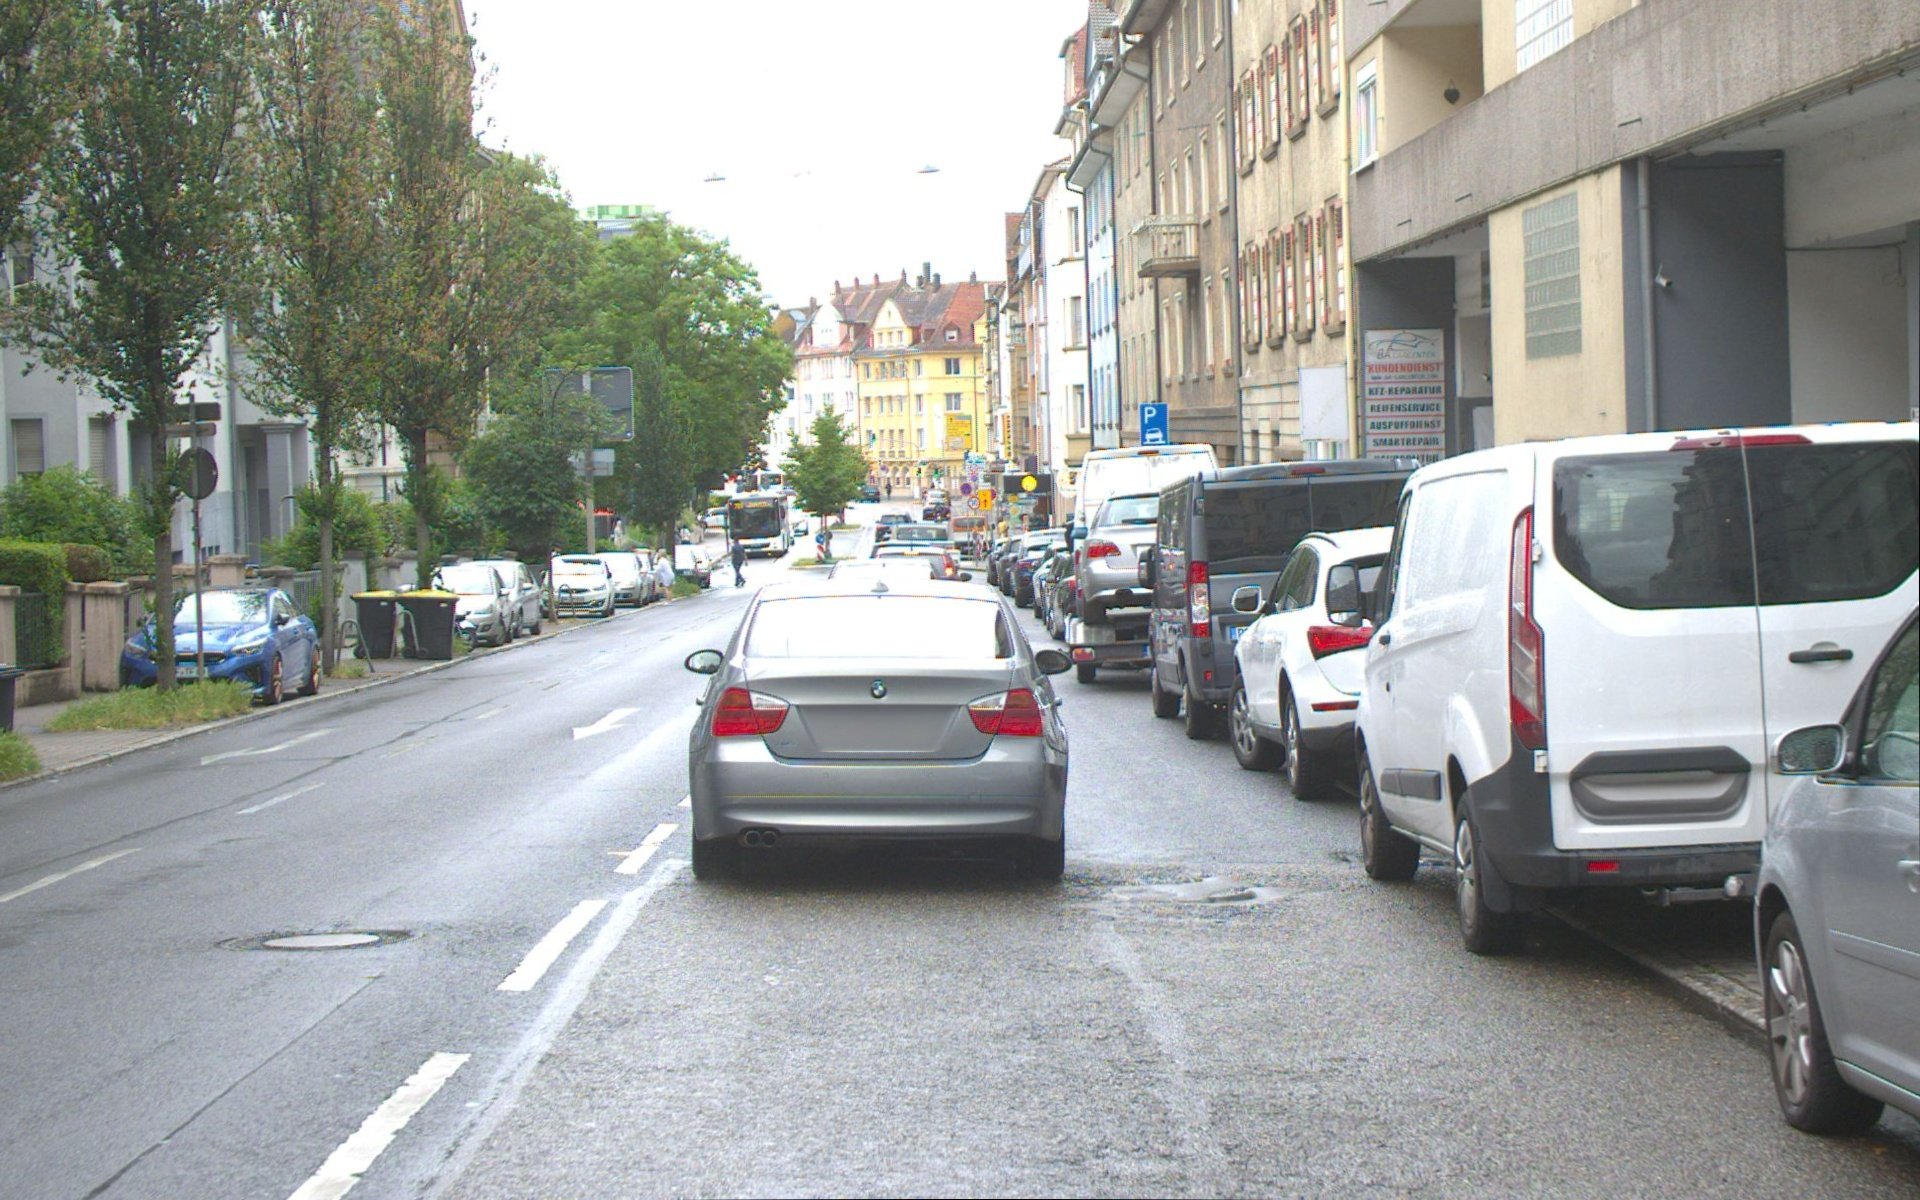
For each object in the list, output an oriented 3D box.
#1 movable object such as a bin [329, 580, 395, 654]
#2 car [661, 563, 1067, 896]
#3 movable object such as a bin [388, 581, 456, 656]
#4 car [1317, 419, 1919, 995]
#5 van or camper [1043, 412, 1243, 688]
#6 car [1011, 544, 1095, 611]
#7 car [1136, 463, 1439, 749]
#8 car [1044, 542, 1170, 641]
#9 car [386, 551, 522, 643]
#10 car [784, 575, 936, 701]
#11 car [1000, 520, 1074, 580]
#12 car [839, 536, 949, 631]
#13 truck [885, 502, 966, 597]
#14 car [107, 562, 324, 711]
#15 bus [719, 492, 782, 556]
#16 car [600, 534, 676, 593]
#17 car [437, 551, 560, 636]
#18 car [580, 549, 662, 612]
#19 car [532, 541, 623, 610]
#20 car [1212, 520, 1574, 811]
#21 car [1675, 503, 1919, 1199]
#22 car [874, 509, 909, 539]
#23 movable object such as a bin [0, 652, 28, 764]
[{"bbox_3d":[-9.592,0.265,55.196,0.902,1.164,0.895,-1,1,-1],"label":"movable object such as a bin"},{"bbox_3d":[-0.407,0.547,16.872,1.769,1.423,3.741,0,1,0],"label":"car"},{"bbox_3d":[-8.632,0.292,55.201,0.935,1.164,0.909,-1,1,-1],"label":"movable object such as a bin"},{"bbox_3d":[2.815,0.344,14.631,1.982,2.000,4.625,-2,1,-1],"label":"car"},{"bbox_3d":[2.111,-0.589,39.818,2.033,2.859,6.884,2,1,3],"label":"van or camper"},{"bbox_3d":[2.086,-0.506,78.012,1.697,1.478,3.975,0,0,-1],"label":"car"},{"bbox_3d":[2.686,0.011,29.286,1.982,2.158,4.750,-2,1,-1],"label":"car"},{"bbox_3d":[2.264,-0.146,53.794,1.697,1.478,3.975,0,0,-1],"label":"car"},{"bbox_3d":[-9.178,-0.077,62.648,1.827,1.518,3.736,-3,1,0],"label":"car"},{"bbox_3d":[-1.152,0.423,41.181,1.682,1.423,3.741,0,1,0],"label":"car"},{"bbox_3d":[1.933,-1.258,87.690,1.697,1.478,3.975,0,0,-1],"label":"car"},{"bbox_3d":[-1.073,-0.269,55.322,1.697,1.478,3.794,0,0,-1],"label":"car"},{"bbox_3d":[-0.918,-1.306,89.562,2.032,2.404,4.827,0,0,-1],"label":"truck"},{"bbox_3d":[-8.883,0.395,41.312,1.766,1.588,4.000,-3,1,-2],"label":"car"},{"bbox_3d":[-10.342,-3.739,170.320,2.668,3.014,7.671,-2,1,-1],"label":"bus"},{"bbox_3d":[-9.026,-1.041,96.665,1.691,1.518,3.736,-3,1,0],"label":"car"},{"bbox_3d":[-9.066,-0.148,67.842,1.827,1.518,3.736,-3,1,0],"label":"car"},{"bbox_3d":[-8.904,-0.528,90.442,1.691,1.518,3.736,-3,1,0],"label":"car"},{"bbox_3d":[-9.245,-0.613,83.238,1.691,1.518,3.736,-3,1,0],"label":"car"},{"bbox_3d":[2.738,0.358,22.627,1.726,1.664,4.289,-2,1,-1],"label":"car"},{"bbox_3d":[3.005,0.572,7.810,1.726,1.664,4.289,-3,1,-1],"label":"car"},{"bbox_3d":[-3.515,-3.880,175.803,1.697,1.478,3.794,-3,1,-1],"label":"car"},{"bbox_3d":[-8.185,0.914,28.997,0.574,0.909,0.640,-2,1,-15],"label":"movable object such as a bin"}]
